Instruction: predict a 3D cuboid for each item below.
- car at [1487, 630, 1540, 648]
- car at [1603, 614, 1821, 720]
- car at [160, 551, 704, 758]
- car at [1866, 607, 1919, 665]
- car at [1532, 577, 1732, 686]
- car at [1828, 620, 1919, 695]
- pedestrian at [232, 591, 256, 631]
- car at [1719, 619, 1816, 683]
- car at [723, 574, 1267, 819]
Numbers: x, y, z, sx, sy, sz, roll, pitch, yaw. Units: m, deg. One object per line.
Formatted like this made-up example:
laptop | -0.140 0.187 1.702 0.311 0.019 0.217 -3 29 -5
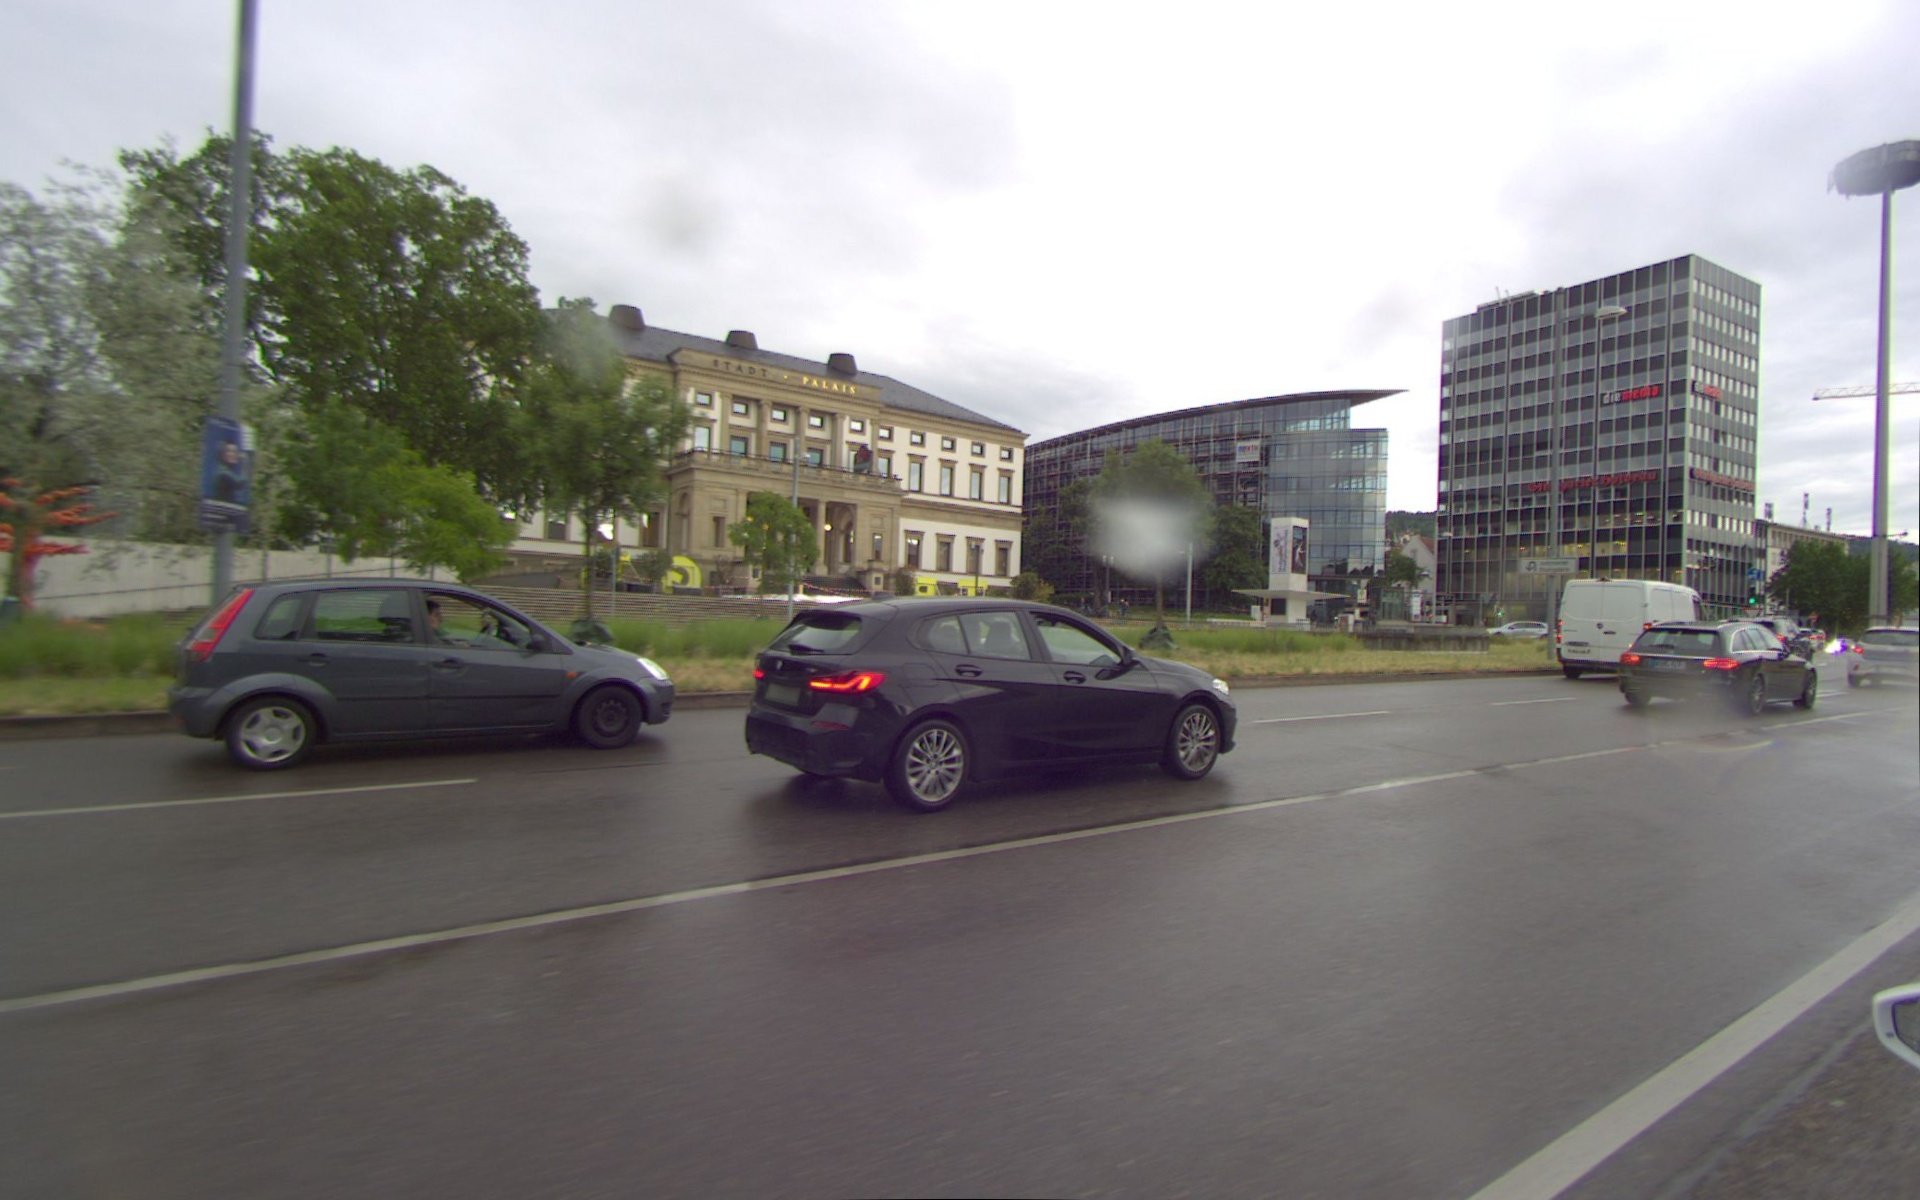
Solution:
car | 33.400 2.357 60.642 2.584 0.953 1.045 3 -1 14
car | 12.468 1.068 16.622 3.363 1.514 1.819 2 0 -33
car | -4.388 0.446 8.723 3.864 1.434 1.531 3 0 -36
car | 30.869 1.216 32.371 3.460 1.750 1.705 4 -1 -35
car | 16.236 0.784 24.199 4.956 2.344 2.278 4 -1 -35
car | 23.263 1.437 24.990 3.427 1.674 1.866 4 -1 -38
pedestrian | -26.188 0.401 36.725 0.627 1.441 0.488 3 0 -38
car | 23.825 1.509 29.610 3.113 1.729 1.453 4 -1 -37
car | 0.423 0.610 8.055 4.182 1.491 1.741 1 0 -36
